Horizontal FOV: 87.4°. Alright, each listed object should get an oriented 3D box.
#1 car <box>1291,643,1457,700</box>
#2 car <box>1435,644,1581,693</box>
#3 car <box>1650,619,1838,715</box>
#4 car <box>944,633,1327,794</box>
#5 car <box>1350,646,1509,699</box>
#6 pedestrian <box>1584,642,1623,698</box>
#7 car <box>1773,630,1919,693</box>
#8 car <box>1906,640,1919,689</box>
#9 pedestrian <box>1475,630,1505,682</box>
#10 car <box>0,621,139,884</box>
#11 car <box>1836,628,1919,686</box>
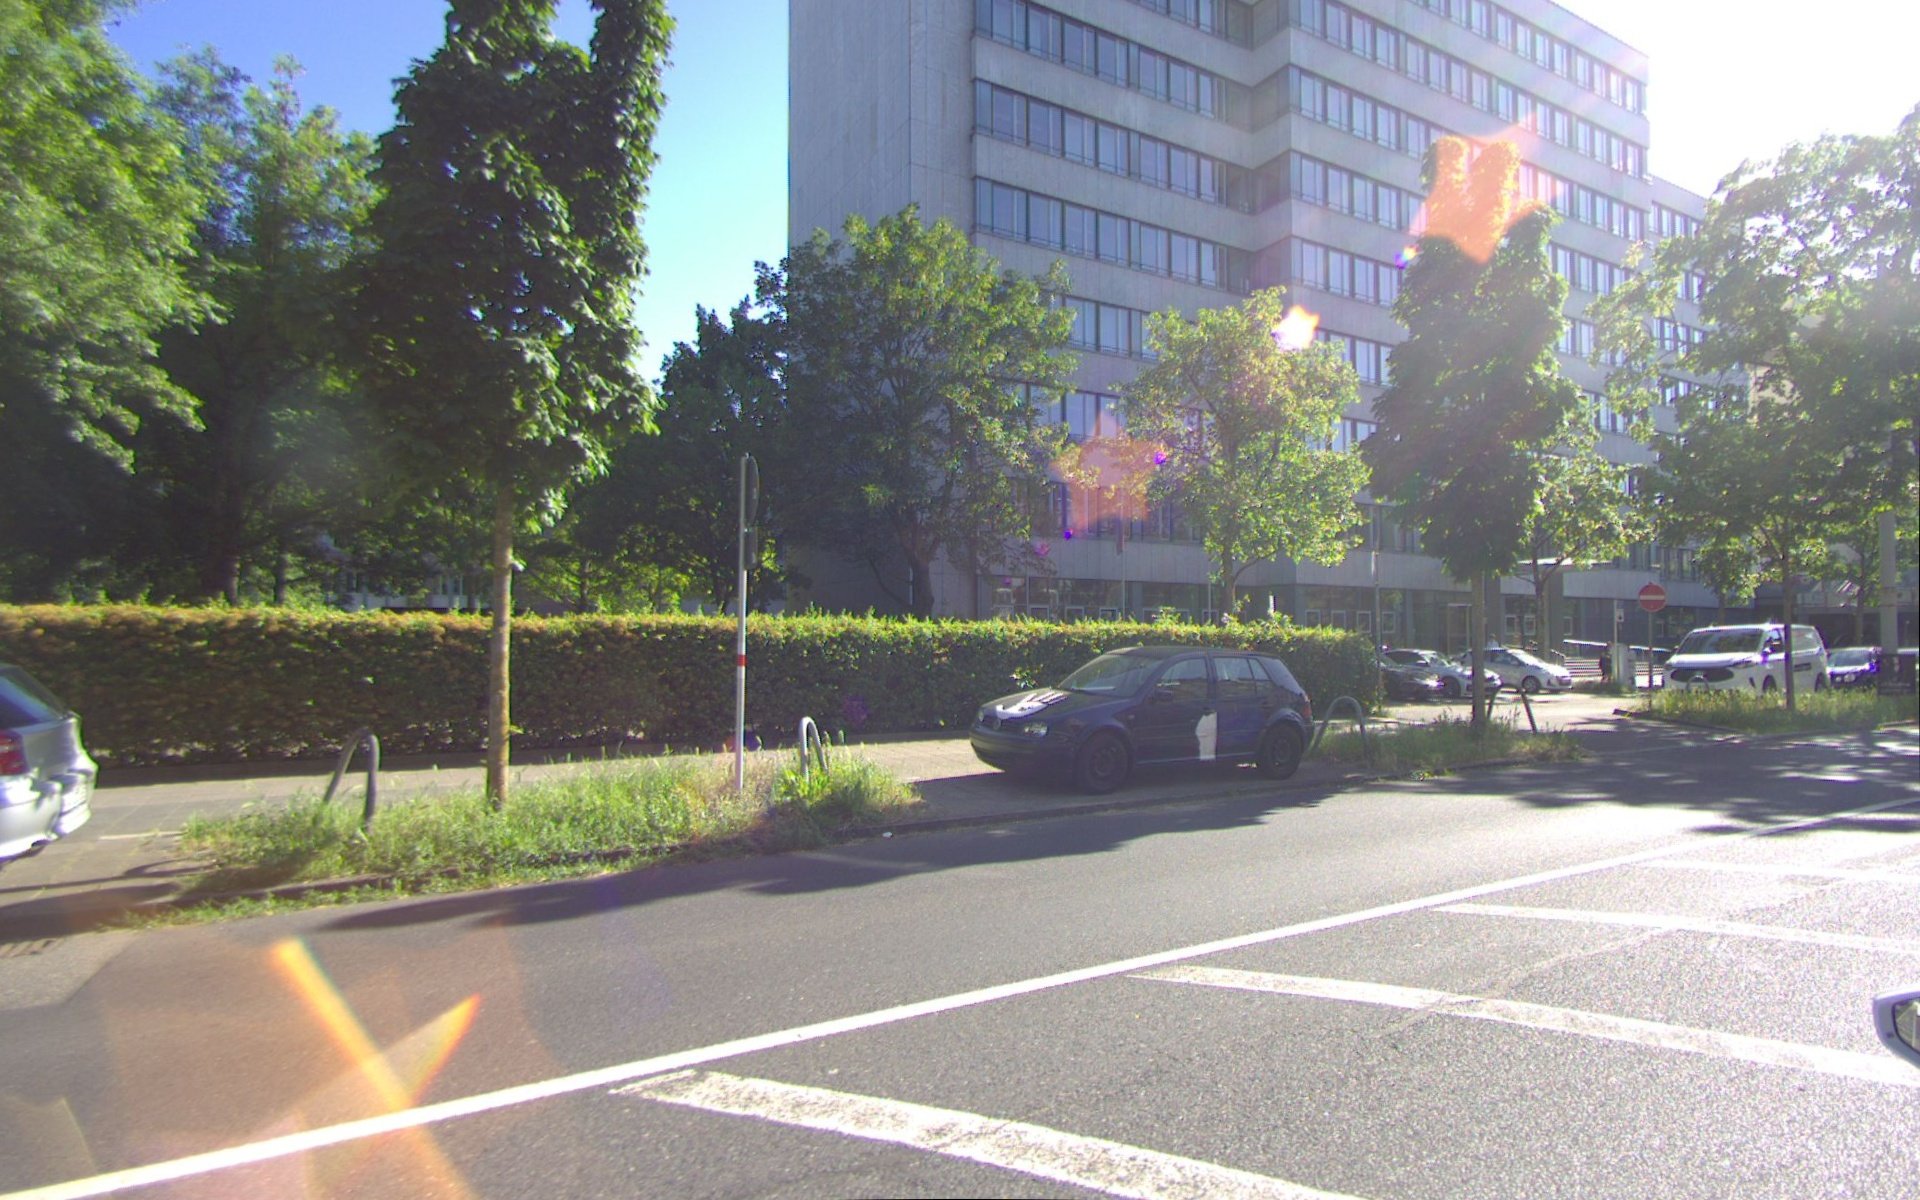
[{"bbox_3d":[12.636,2.132,30.997,1.982,1.533,4.656,1,-2,-25],"label":"car"},{"bbox_3d":[19.509,2.390,35.930,1.842,1.543,4.280,2,-2,-32],"label":"car"},{"bbox_3d":[18.985,1.599,24.260,5.142,2.103,1.970,2,-4,-33],"label":"car"},{"bbox_3d":[1.996,1.135,11.144,4.023,1.478,1.704,2,-1,-29],"label":"car"},{"bbox_3d":[15.198,2.309,32.803,1.911,1.461,4.600,1,-1,-25],"label":"car"},{"bbox_3d":[23.907,2.590,37.319,0.996,2.040,0.831,2,-1,-30],"label":"pedestrian"},{"bbox_3d":[23.691,1.609,26.712,4.266,1.543,1.774,2,-1,-29],"label":"car"},{"bbox_3d":[32.498,2.091,32.362,4.014,1.543,1.848,2,-1,-29],"label":"car"},{"bbox_3d":[22.053,2.322,41.816,0.782,2.121,0.768,2,-1,-29],"label":"pedestrian"},{"bbox_3d":[-7.327,0.820,5.457,4.139,1.402,1.681,2,0,-28],"label":"car"},{"bbox_3d":[27.702,1.641,29.450,4.269,1.543,1.846,2,-1,-31],"label":"car"}]
